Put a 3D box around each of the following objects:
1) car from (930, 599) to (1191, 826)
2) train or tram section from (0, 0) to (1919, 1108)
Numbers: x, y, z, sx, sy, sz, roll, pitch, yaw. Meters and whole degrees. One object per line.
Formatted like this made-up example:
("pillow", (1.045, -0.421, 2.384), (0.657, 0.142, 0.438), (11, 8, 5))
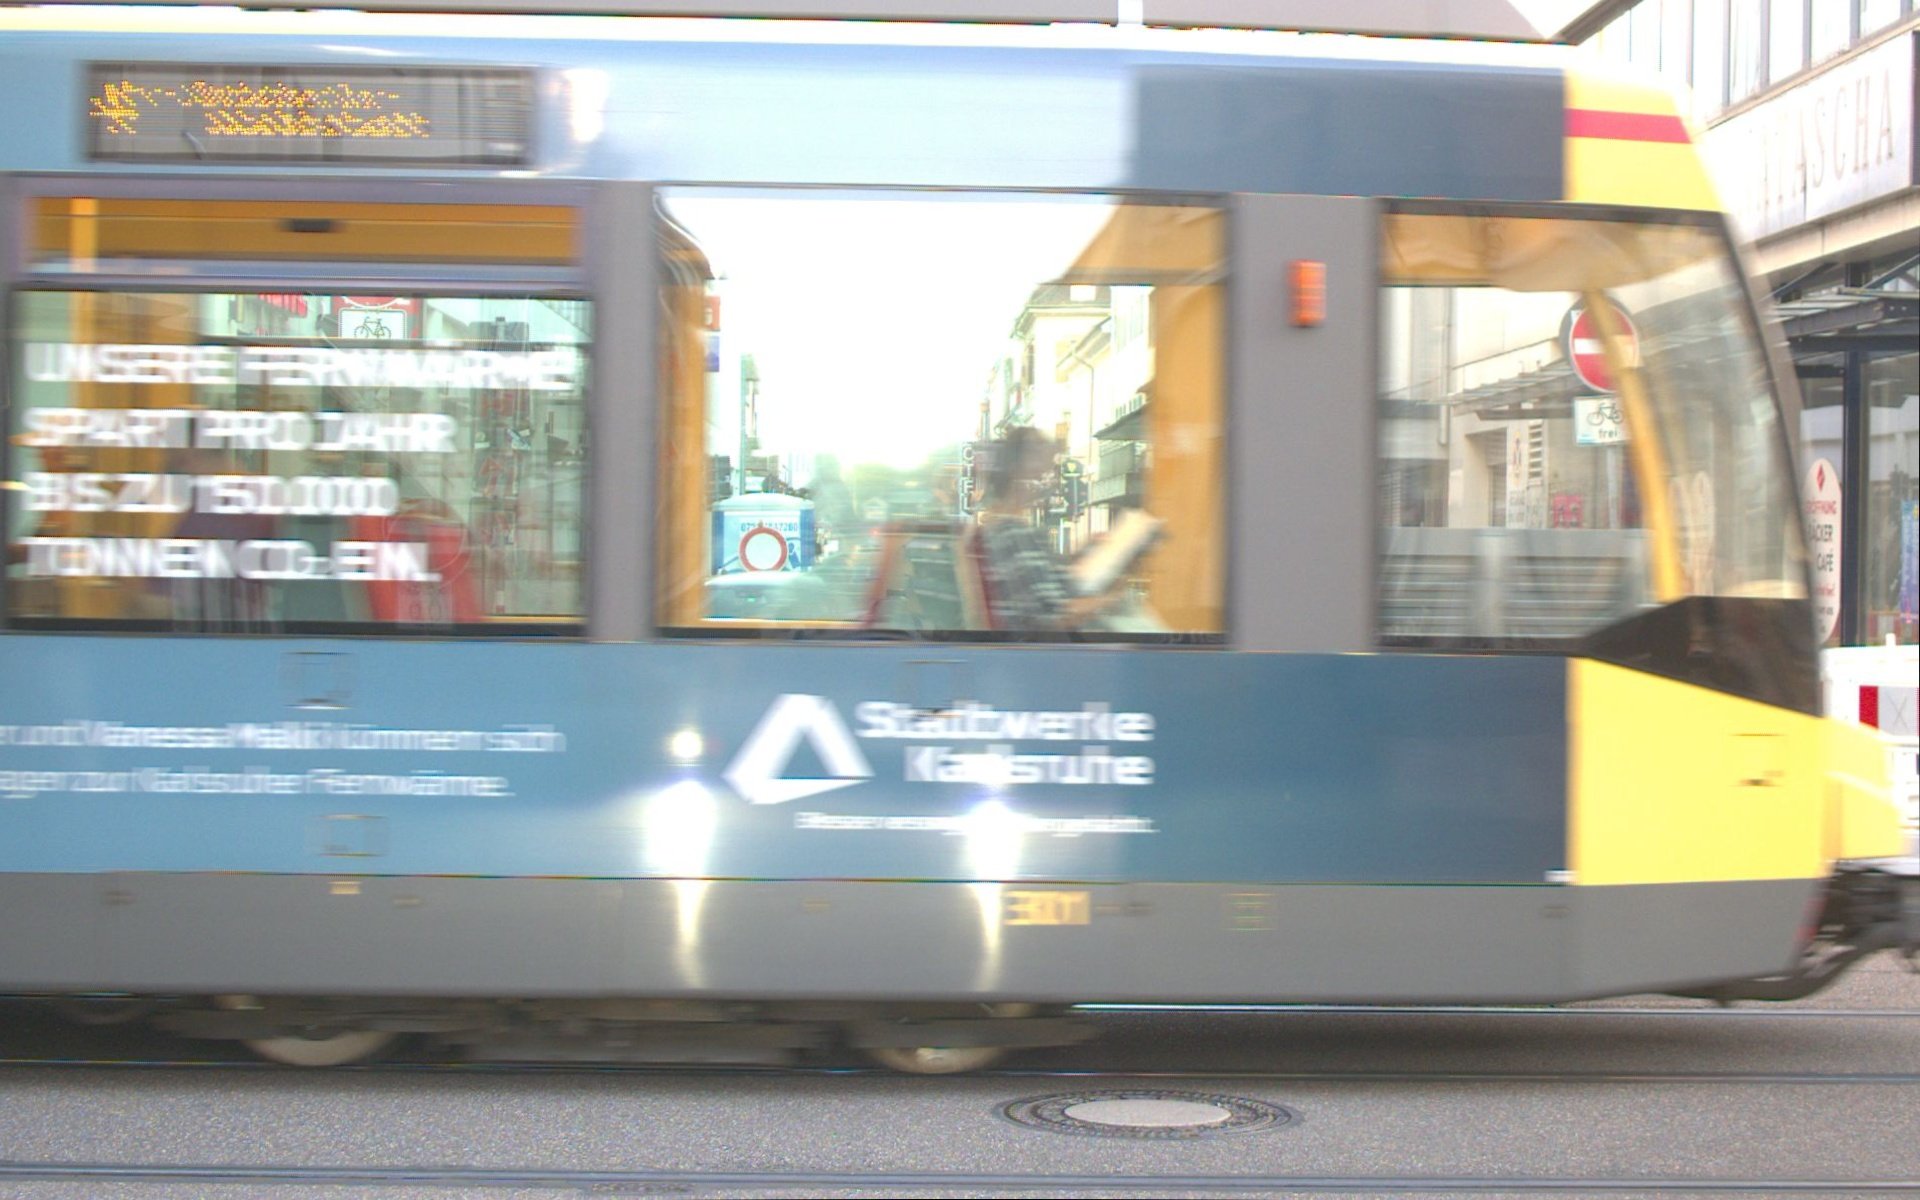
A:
("car", (0.761, 0.818, 27.092), (1.897, 1.607, 4.152), (0, 1, 1))
("train or tram section", (-1.862, -0.428, 10.779), (10.335, 3.511, 3.027), (1, 1, -1))
